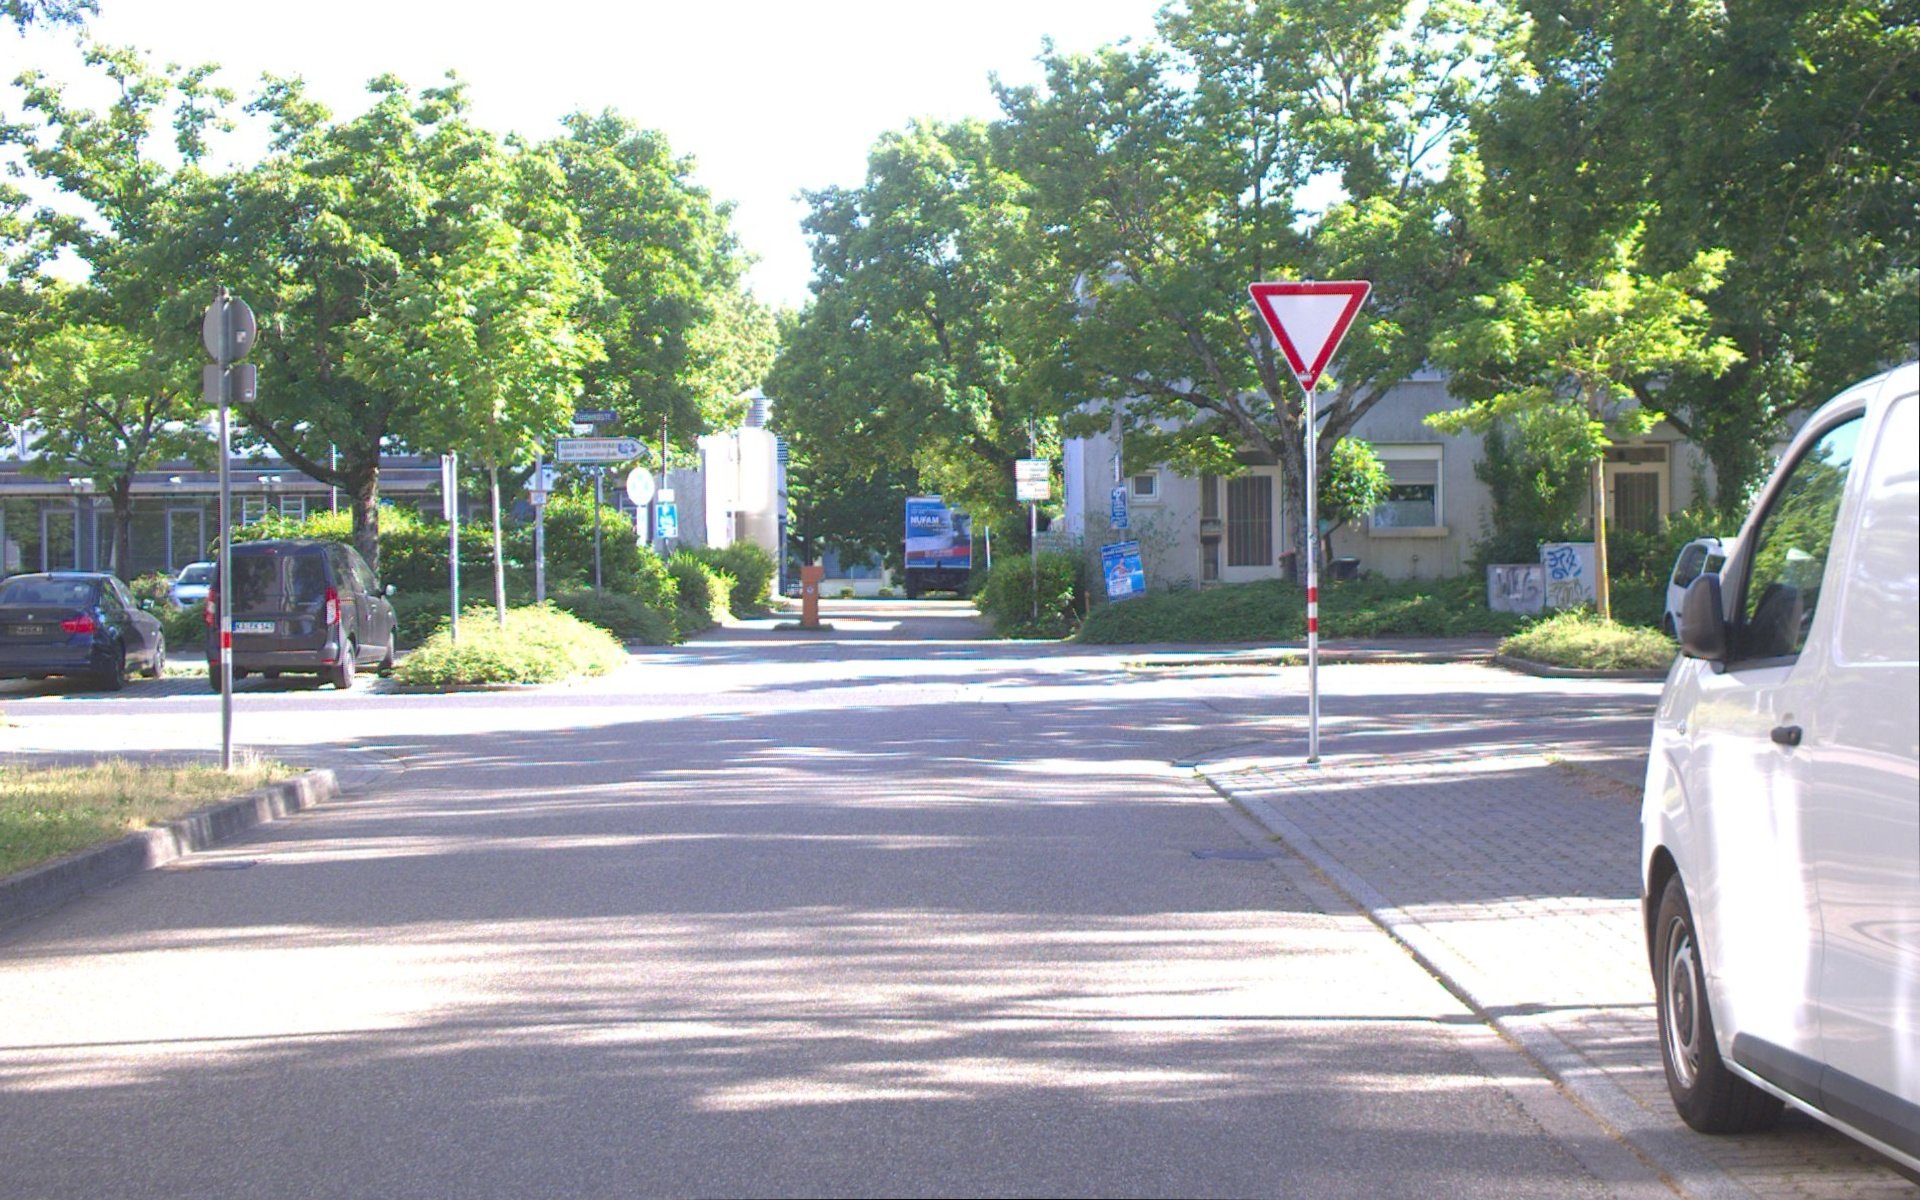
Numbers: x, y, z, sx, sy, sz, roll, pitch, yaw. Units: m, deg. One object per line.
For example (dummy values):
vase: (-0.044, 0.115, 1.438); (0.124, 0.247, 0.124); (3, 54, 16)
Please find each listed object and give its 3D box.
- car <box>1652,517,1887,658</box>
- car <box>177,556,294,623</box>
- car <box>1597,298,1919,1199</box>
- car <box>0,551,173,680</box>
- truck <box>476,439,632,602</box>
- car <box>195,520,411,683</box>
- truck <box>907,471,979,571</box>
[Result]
car: (10.046, -0.199, 42.976); (1.823, 1.592, 4.169); (-1, 2, -2)
car: (-17.298, -0.273, 82.219); (1.836, 1.492, 3.908); (-1, 1, 2)
car: (2.701, 0.374, 6.907); (1.898, 1.907, 5.148); (-1, 1, 1)
car: (-11.151, 0.159, 42.852); (1.823, 1.401, 4.169); (-1, 2, -2)
truck: (-9.850, -1.932, 84.091); (2.802, 3.793, 6.924); (0, 1, 2)
car: (-8.155, -0.030, 42.995); (1.874, 1.840, 4.169); (-1, 2, 0)
truck: (-0.621, -3.151, 137.597); (2.760, 3.856, 9.330); (0, 1, 0)
